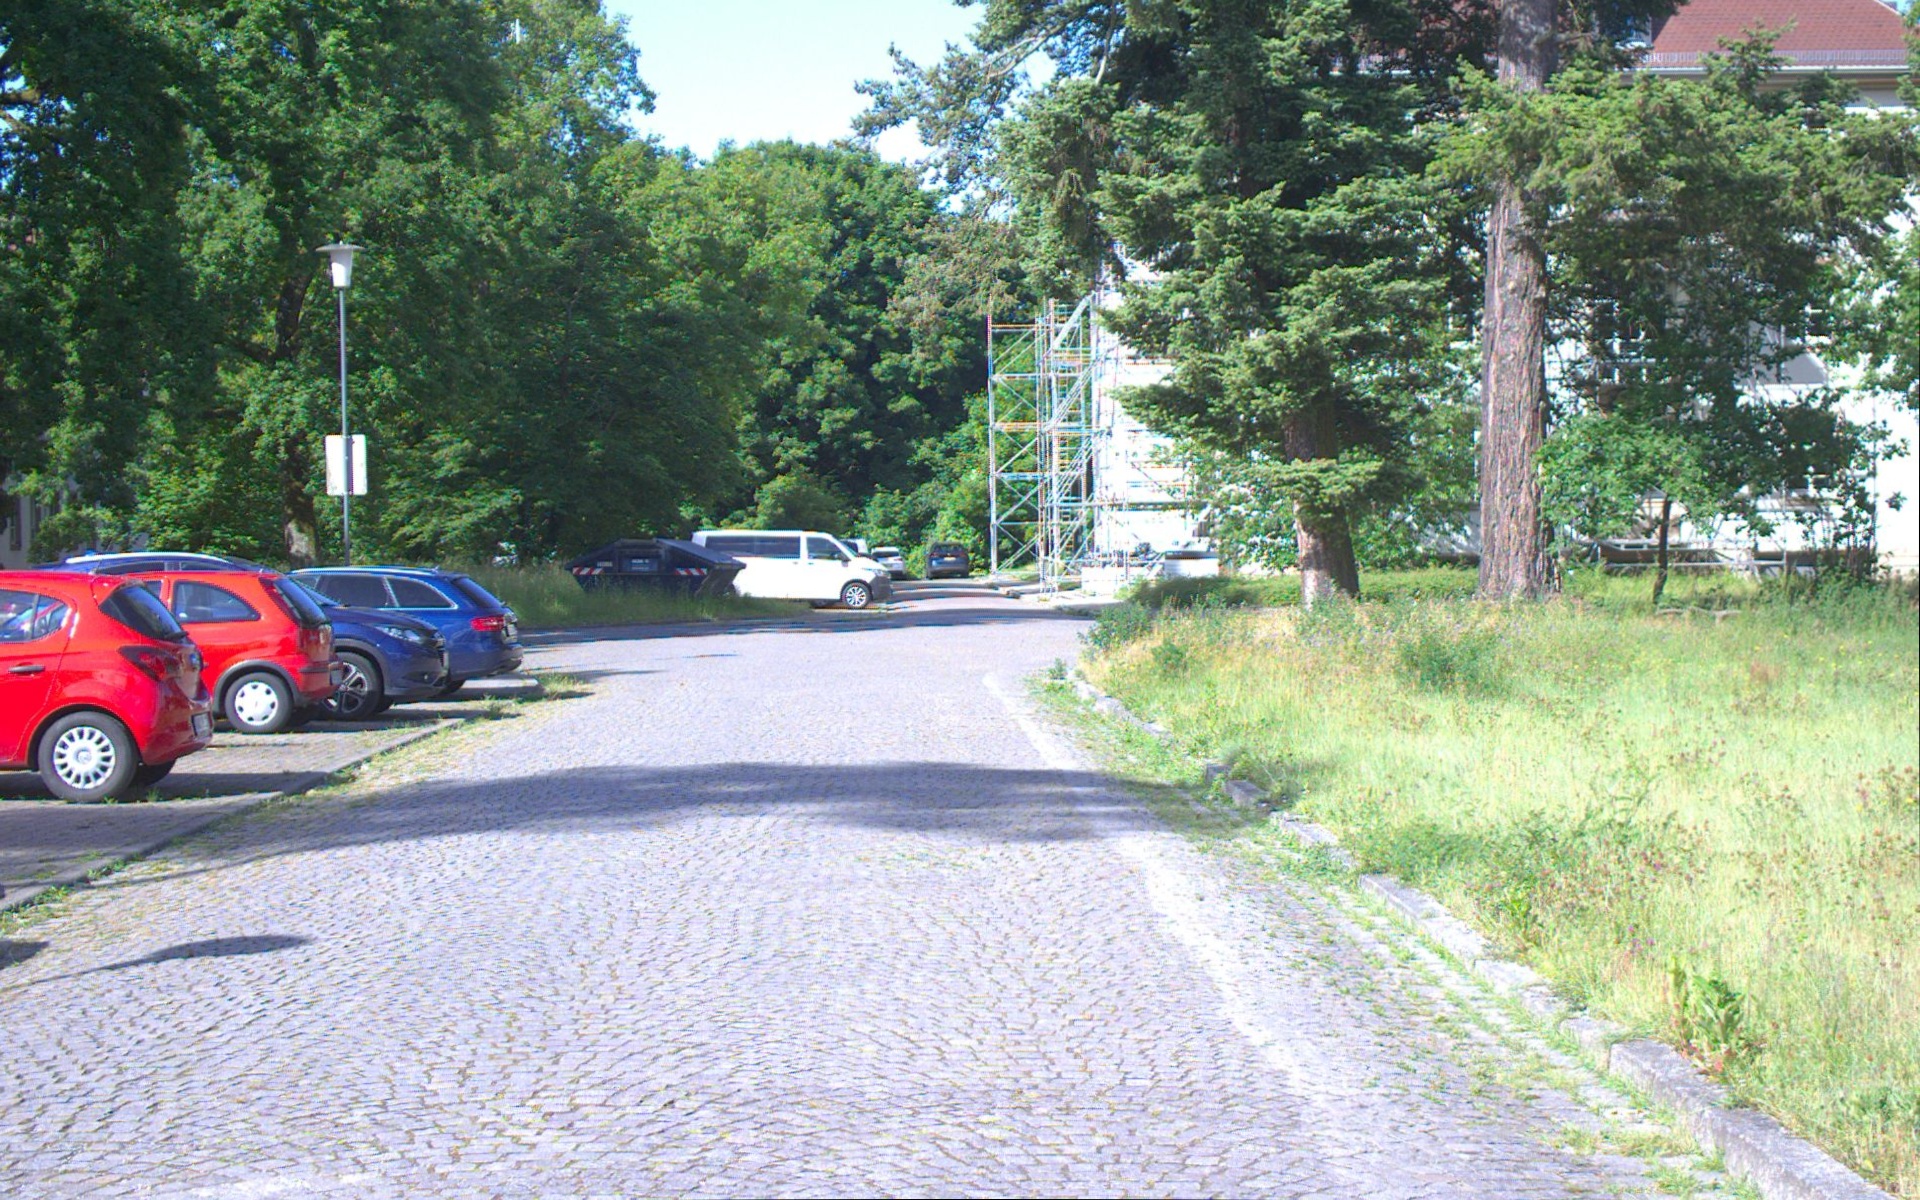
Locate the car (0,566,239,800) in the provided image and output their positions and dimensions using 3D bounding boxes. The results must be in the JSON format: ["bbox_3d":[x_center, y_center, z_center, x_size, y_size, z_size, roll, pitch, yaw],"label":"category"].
[{"bbox_3d":[-6.897,0.516,22.723,3.923,1.456,1.842,0,1,-2],"label":"car"}]

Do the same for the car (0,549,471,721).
[{"bbox_3d":[-6.885,0.312,33.007,4.135,1.574,1.884,0,1,-1],"label":"car"}]

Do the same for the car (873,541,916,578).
[{"bbox_3d":[-2.921,-1.787,152.646,1.812,1.574,4.135,-1,1,-2],"label":"car"}]

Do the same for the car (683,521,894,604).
[{"bbox_3d":[-4.296,-0.947,86.606,5.234,2.009,1.950,-1,1,-1],"label":"car"}]

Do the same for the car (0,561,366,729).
[{"bbox_3d":[-7.415,0.379,30.602,3.923,1.428,1.842,0,1,0],"label":"car"}]

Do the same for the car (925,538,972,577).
[{"bbox_3d":[-0.525,-1.890,152.980,1.971,1.662,4.086,-1,1,-2],"label":"car"}]

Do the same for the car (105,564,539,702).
[{"bbox_3d":[-6.937,0.344,37.691,4.360,1.440,1.921,0,1,2],"label":"car"}]

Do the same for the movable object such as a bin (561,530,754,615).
[{"bbox_3d":[-6.460,-0.593,73.479,3.568,1.738,2.023,-1,1,18],"label":"movable object such as a bin"}]
